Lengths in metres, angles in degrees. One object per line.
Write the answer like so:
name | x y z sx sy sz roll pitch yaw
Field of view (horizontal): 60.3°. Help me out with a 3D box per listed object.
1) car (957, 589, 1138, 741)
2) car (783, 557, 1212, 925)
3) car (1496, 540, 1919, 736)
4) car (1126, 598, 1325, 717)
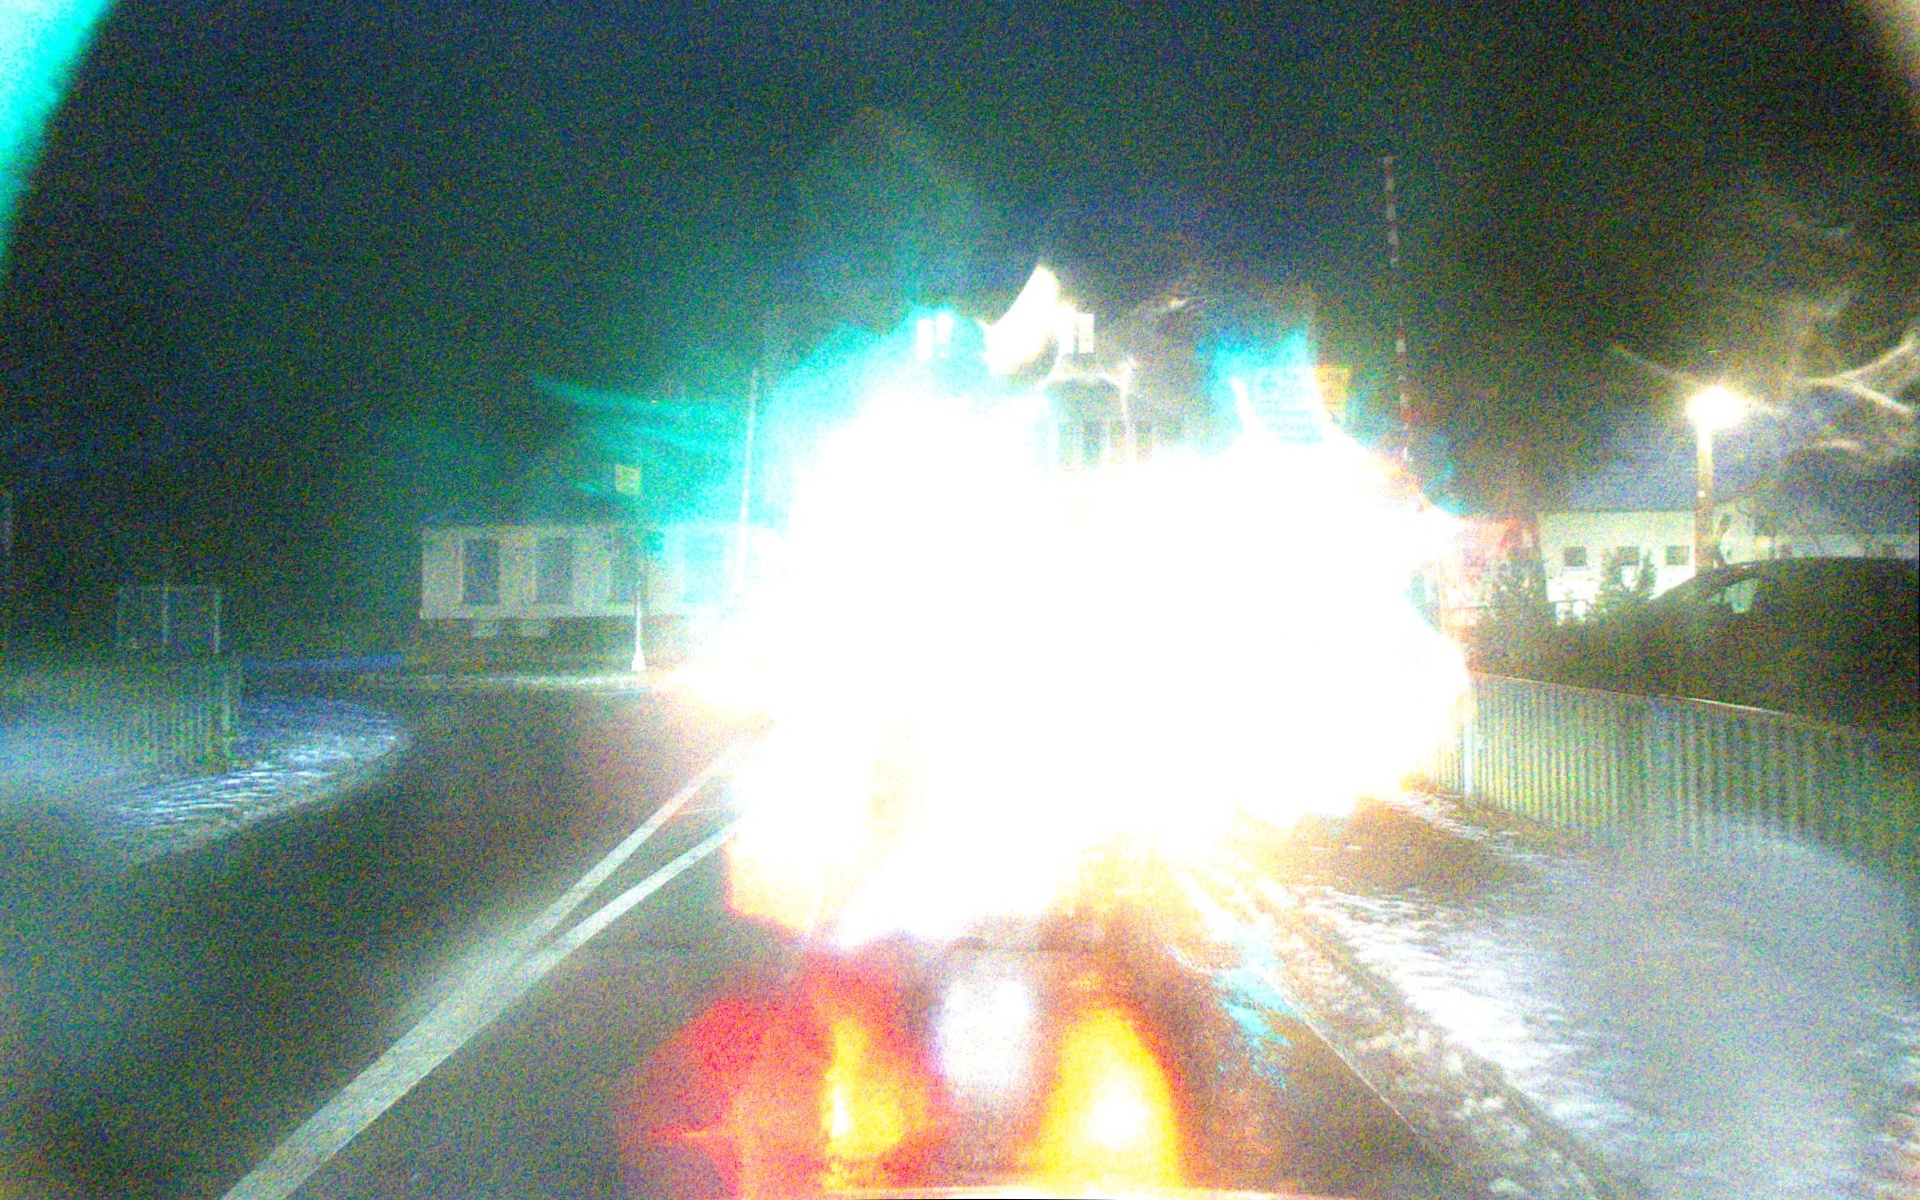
car | 0.984 0.677 19.794 1.870 1.537 4.241 -3 0 1
car | 0.142 0.687 9.973 2.016 1.707 4.138 1 0 -1
car | 7.595 0.323 15.871 4.372 1.613 1.941 -3 0 10
car | 5.076 1.051 31.212 1.744 1.981 4.232 4 1 39
